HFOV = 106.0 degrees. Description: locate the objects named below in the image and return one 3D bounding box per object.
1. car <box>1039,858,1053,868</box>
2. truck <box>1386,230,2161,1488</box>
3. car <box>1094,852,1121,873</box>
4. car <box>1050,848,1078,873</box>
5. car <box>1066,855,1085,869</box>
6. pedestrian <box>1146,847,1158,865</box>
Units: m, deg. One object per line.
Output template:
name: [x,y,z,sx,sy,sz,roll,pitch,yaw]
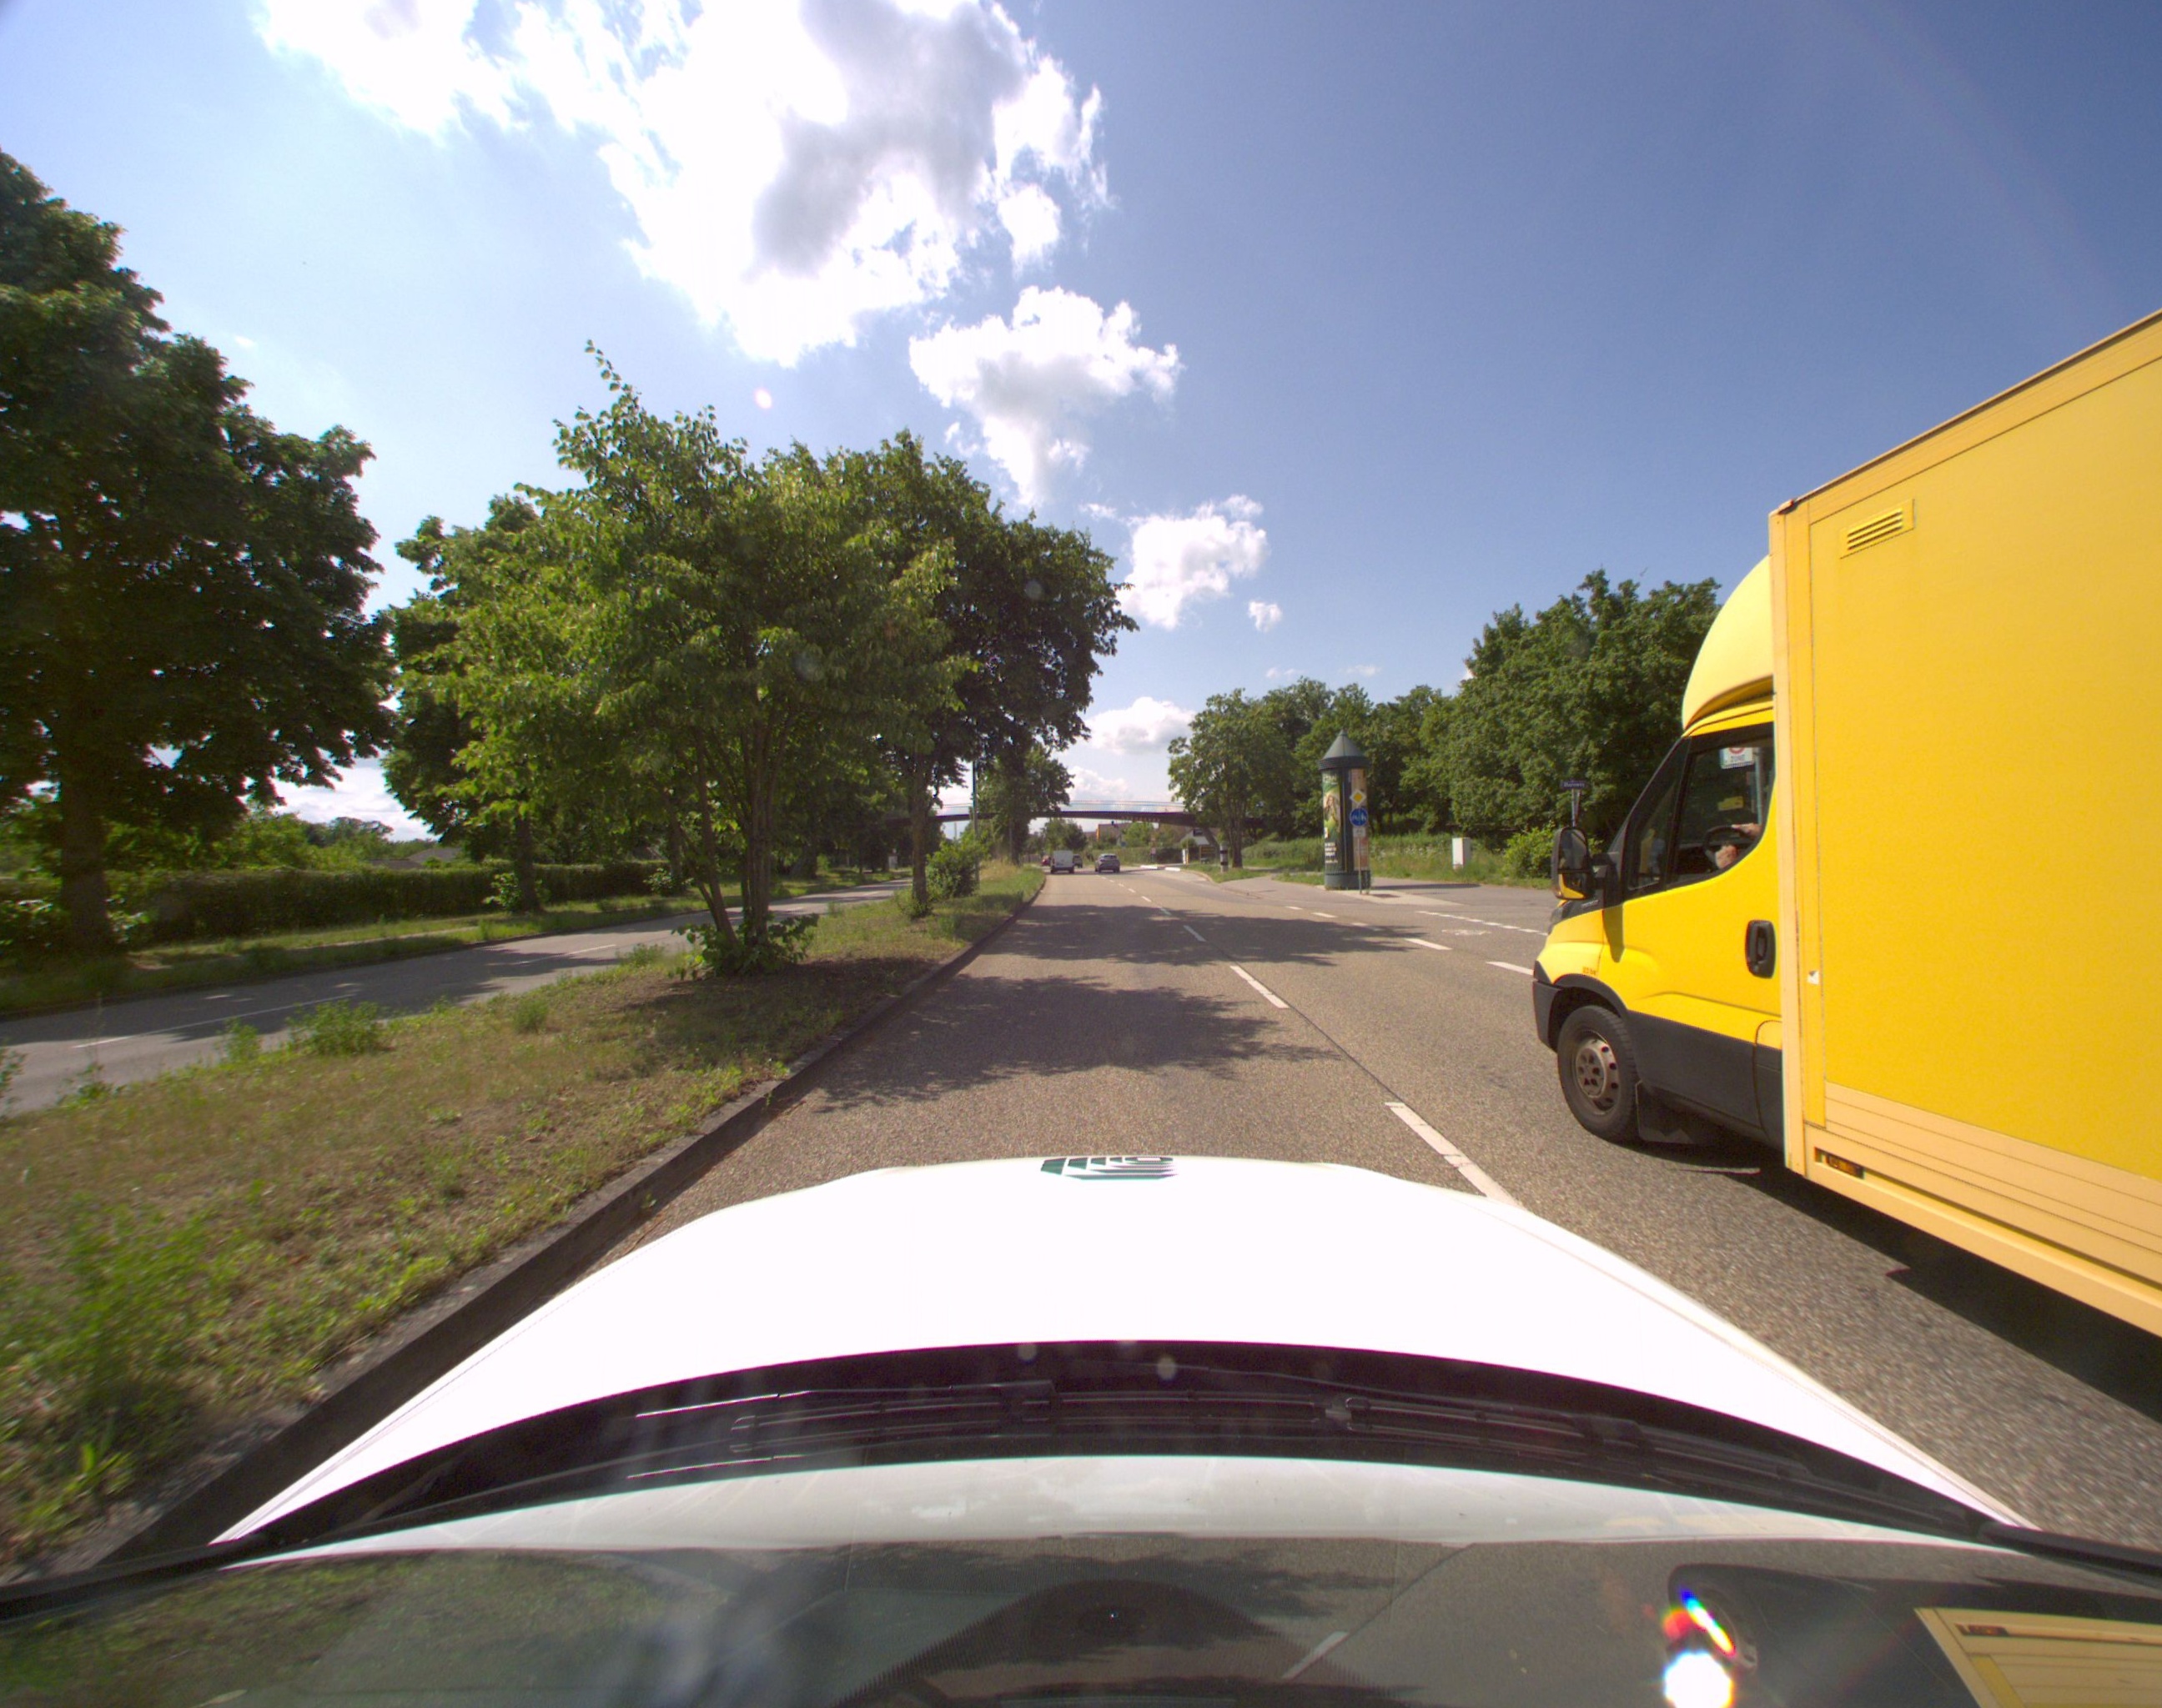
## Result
car: [-5.775,1.423,135.401,1.879,1.587,3.988,-1,0,-8]
truck: [3.610,0.008,2.676,2.257,2.880,8.027,0,0,0]
car: [2.162,0.700,67.172,1.871,1.589,4.179,-2,-1,-3]
car: [-1.398,0.505,65.307,2.061,1.912,4.640,-1,0,-4]
car: [-0.738,1.005,98.570,1.873,1.652,3.991,-2,-1,-6]
pedestrian: [7.397,0.226,85.406,0.953,1.824,1.085,-3,-3,-6]
